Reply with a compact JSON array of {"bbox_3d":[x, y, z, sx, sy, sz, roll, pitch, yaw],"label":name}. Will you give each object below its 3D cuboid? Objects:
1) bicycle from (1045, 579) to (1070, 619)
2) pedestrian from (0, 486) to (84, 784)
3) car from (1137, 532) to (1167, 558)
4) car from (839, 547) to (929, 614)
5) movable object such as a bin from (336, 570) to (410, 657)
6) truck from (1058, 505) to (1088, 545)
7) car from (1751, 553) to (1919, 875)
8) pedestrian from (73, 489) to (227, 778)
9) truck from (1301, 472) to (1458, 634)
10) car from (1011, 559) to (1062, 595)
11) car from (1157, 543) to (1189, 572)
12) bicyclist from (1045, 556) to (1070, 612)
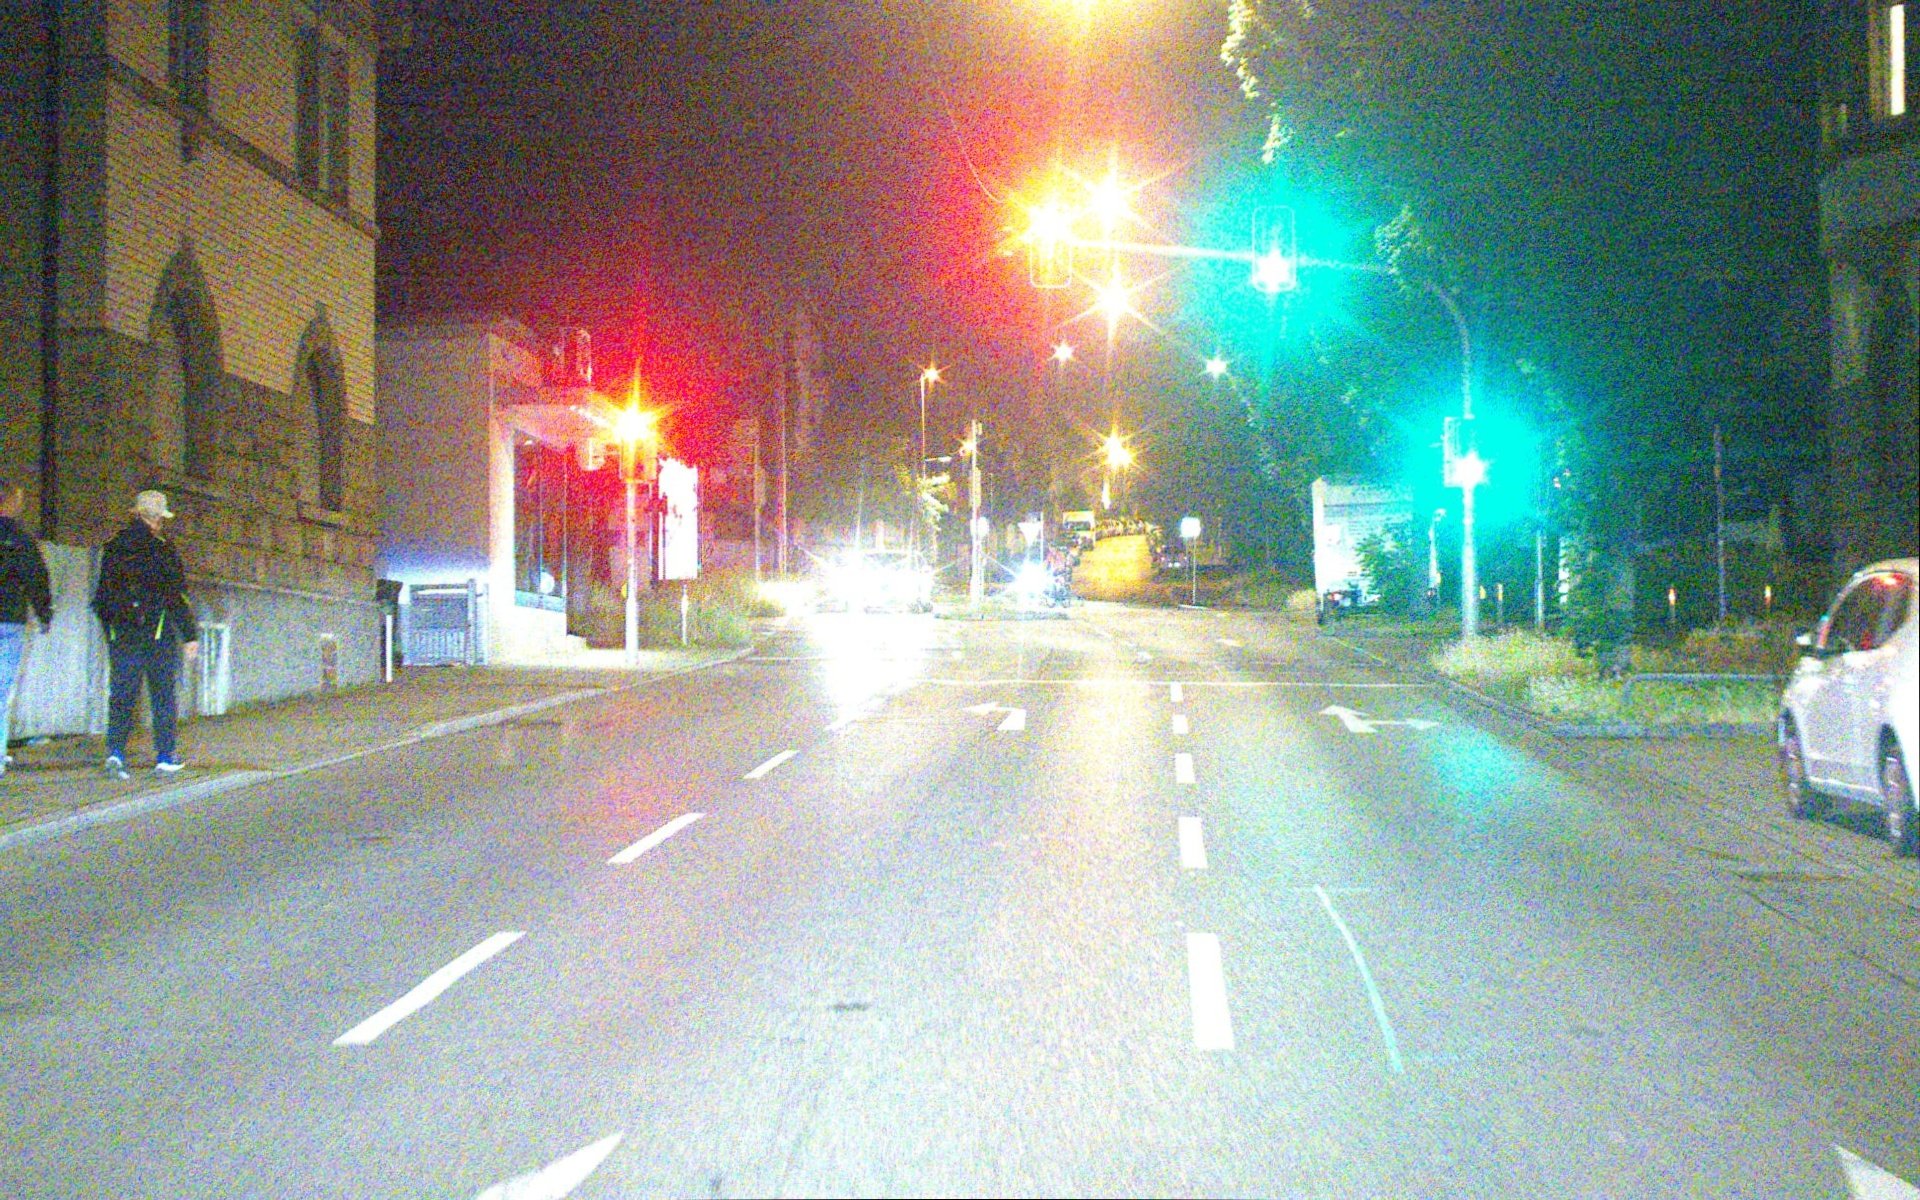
[{"bbox_3d":[2.853,-0.038,100.491,0.696,1.145,1.950,0,0,3],"label":"bicycle"},{"bbox_3d":[-5.800,0.198,20.685,0.742,1.739,1.103,0,0,2],"label":"pedestrian"},{"bbox_3d":[10.856,-3.127,194.487,1.634,1.447,3.484,1,1,3],"label":"car"},{"bbox_3d":[-1.789,-0.488,82.348,1.857,1.529,4.027,1,1,3],"label":"car"},{"bbox_3d":[-7.089,0.156,41.543,0.639,1.045,0.654,0,0,21],"label":"movable object such as a bin"},{"bbox_3d":[8.051,-5.345,245.090,2.086,2.838,5.831,1,1,1],"label":"truck"},{"bbox_3d":[5.372,0.507,18.089,1.668,1.479,3.603,-2,1,2],"label":"car"},{"bbox_3d":[-4.981,0.197,21.192,0.675,1.739,1.029,0,0,2],"label":"pedestrian"},{"bbox_3d":[8.399,-0.962,69.500,2.750,3.100,6.258,1,1,4],"label":"truck"},{"bbox_3d":[3.034,-0.916,135.270,1.916,1.384,4.582,1,1,2],"label":"car"},{"bbox_3d":[11.054,-2.204,178.526,1.634,1.447,3.484,1,1,3],"label":"car"},{"bbox_3d":[2.850,-0.474,100.384,0.690,1.631,0.896,0,0,3],"label":"bicyclist"}]
